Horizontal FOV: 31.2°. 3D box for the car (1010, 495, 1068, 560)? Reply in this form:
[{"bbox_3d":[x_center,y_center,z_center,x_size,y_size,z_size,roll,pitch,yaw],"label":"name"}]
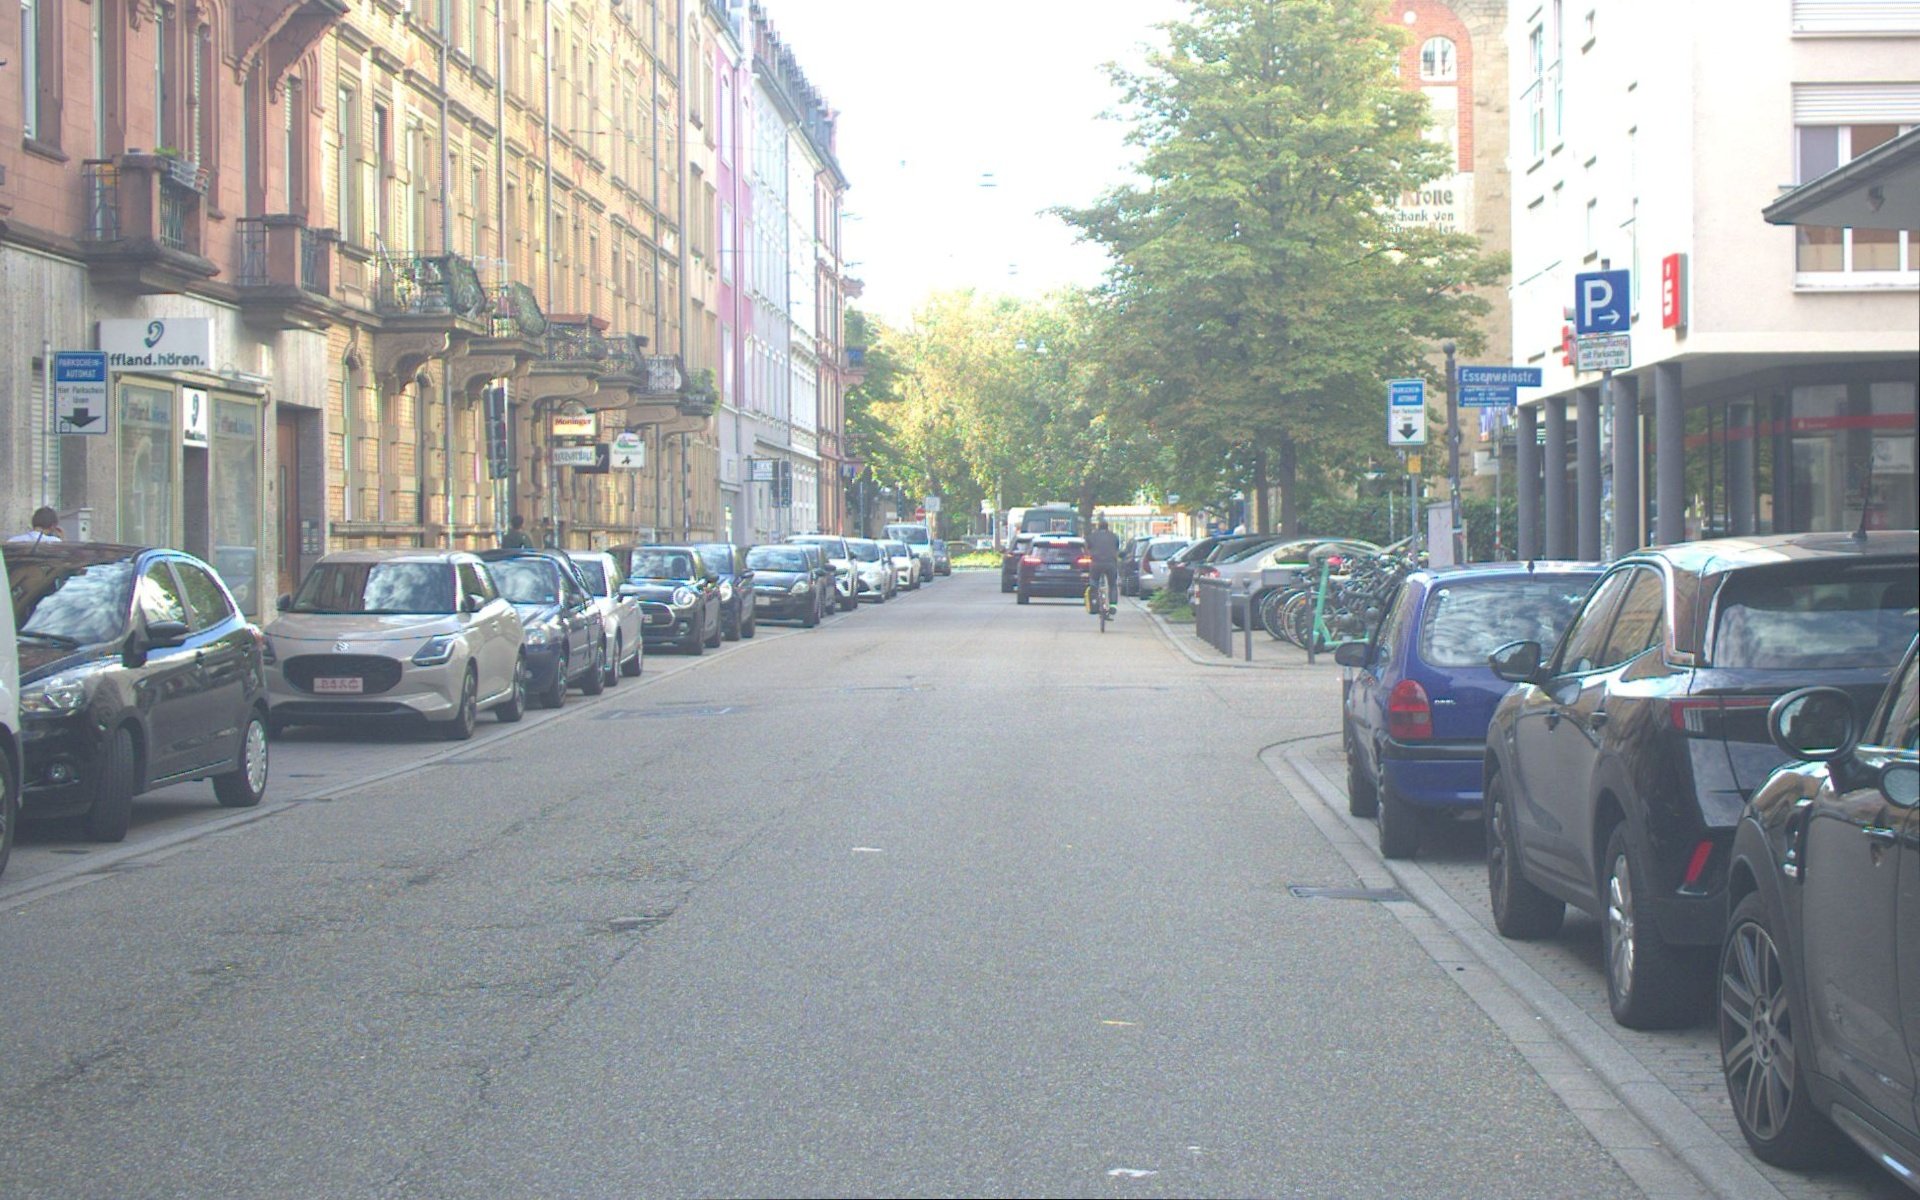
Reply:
[{"bbox_3d":[2.523,-2.343,110.406,1.782,2.013,3.888,1,1,1],"label":"car"}]

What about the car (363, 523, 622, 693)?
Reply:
[{"bbox_3d":[-4.413,0.027,32.977,1.742,1.478,3.983,1,1,3],"label":"car"}]

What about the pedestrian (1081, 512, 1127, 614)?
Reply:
[{"bbox_3d":[2.369,-0.613,56.422,0.718,1.644,0.930,1,1,3],"label":"pedestrian"}]

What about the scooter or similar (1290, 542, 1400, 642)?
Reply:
[{"bbox_3d":[4.572,-0.089,40.830,1.208,1.143,0.378,-1,3,34],"label":"scooter or similar"}]

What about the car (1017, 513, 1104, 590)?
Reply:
[{"bbox_3d":[2.397,-1.132,81.304,1.965,1.735,4.041,1,1,2],"label":"car"}]

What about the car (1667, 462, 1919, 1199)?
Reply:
[{"bbox_3d":[2.631,0.532,6.730,1.792,1.600,3.924,0,1,2],"label":"car"}]

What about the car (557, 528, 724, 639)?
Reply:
[{"bbox_3d":[-4.251,-0.250,46.228,1.690,1.382,3.867,1,1,3],"label":"car"}]

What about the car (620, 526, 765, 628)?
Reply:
[{"bbox_3d":[-4.027,-0.377,52.224,1.690,1.432,3.867,1,1,3],"label":"car"}]

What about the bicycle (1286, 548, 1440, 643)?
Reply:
[{"bbox_3d":[4.857,-0.057,41.433,1.765,1.053,0.411,-2,1,-3],"label":"bicycle"}]

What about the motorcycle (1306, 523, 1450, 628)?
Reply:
[{"bbox_3d":[6.470,-0.381,53.273,2.151,1.525,0.686,-2,1,7],"label":"motorcycle"}]

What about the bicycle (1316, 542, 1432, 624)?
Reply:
[{"bbox_3d":[6.203,-0.260,51.600,1.664,1.155,0.557,-2,1,4],"label":"bicycle"}]

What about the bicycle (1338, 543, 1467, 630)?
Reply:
[{"bbox_3d":[6.220,-0.193,48.359,1.732,1.155,0.500,-2,1,4],"label":"bicycle"}]

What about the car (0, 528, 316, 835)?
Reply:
[{"bbox_3d":[-4.885,0.357,18.747,1.742,1.478,3.983,1,1,4],"label":"car"}]

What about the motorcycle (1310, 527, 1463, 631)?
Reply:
[{"bbox_3d":[6.229,-0.310,50.253,2.151,1.430,0.765,-2,1,7],"label":"motorcycle"}]

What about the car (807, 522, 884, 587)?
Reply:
[{"bbox_3d":[-2.866,-1.156,86.934,1.690,1.545,3.867,1,1,1],"label":"car"}]

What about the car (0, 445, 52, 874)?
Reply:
[{"bbox_3d":[-5.148,0.283,13.482,1.920,1.865,4.437,1,1,1],"label":"car"}]

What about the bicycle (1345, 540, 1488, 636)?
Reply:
[{"bbox_3d":[5.821,-0.157,43.862,1.765,1.142,0.411,-3,2,-18],"label":"bicycle"}]

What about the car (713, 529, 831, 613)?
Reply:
[{"bbox_3d":[-3.384,-0.557,62.499,1.690,1.364,3.867,4,1,3],"label":"car"}]

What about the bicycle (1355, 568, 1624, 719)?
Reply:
[{"bbox_3d":[3.957,0.331,25.811,1.962,1.091,0.688,-1,-2,45],"label":"bicycle"}]

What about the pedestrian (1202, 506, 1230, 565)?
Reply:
[{"bbox_3d":[9.752,-2.450,131.193,0.995,2.222,0.898,1,1,3],"label":"pedestrian"}]

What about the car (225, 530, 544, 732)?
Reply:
[{"bbox_3d":[-4.618,0.193,28.117,1.742,1.478,3.983,1,1,3],"label":"car"}]

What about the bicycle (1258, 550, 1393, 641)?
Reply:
[{"bbox_3d":[4.994,-0.062,47.011,1.794,1.155,0.500,-2,1,5],"label":"bicycle"}]

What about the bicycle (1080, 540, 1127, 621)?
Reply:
[{"bbox_3d":[2.356,-0.326,56.307,0.718,1.270,1.884,1,1,3],"label":"bicycle"}]

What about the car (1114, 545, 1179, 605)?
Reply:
[{"bbox_3d":[5.047,-0.684,93.107,1.690,1.545,3.688,1,1,3],"label":"car"}]

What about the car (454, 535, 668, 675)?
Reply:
[{"bbox_3d":[-4.278,0.012,37.372,1.690,1.382,3.867,1,1,3],"label":"car"}]

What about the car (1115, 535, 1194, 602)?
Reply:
[{"bbox_3d":[4.991,-0.834,88.617,1.930,1.632,4.000,1,1,2],"label":"car"}]

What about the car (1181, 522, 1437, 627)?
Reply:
[{"bbox_3d":[5.619,-0.402,55.581,3.759,1.541,1.731,-2,0,-8],"label":"car"}]

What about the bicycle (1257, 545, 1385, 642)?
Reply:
[{"bbox_3d":[4.490,-0.088,42.815,1.495,1.142,0.411,-2,1,-3],"label":"bicycle"}]

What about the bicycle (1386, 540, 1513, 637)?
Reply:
[{"bbox_3d":[6.090,-0.145,42.808,1.495,1.142,0.411,-2,1,2],"label":"bicycle"}]

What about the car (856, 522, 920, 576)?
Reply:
[{"bbox_3d":[-2.120,-1.521,101.994,1.690,1.545,3.867,1,1,1],"label":"car"}]

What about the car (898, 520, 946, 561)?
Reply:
[{"bbox_3d":[-1.476,-2.306,133.467,1.690,1.545,3.867,1,1,1],"label":"car"}]

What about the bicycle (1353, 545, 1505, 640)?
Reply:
[{"bbox_3d":[5.723,-0.098,42.040,1.766,1.083,0.650,-2,1,5],"label":"bicycle"}]

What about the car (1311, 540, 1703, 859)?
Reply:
[{"bbox_3d":[2.733,0.427,17.905,1.595,1.434,4.030,-1,1,3],"label":"car"}]

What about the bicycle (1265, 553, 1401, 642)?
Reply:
[{"bbox_3d":[4.993,-0.039,46.076,1.766,1.115,0.411,-2,1,5],"label":"bicycle"}]

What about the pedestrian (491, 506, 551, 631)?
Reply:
[{"bbox_3d":[-6.590,-0.478,51.644,0.689,1.847,0.931,1,1,3],"label":"pedestrian"}]

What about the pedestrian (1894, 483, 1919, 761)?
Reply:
[{"bbox_3d":[5.902,0.119,19.880,0.824,1.583,0.780,0,1,4],"label":"pedestrian"}]

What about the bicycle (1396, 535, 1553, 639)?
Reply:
[{"bbox_3d":[6.122,-0.158,40.974,1.766,1.158,0.650,-2,1,5],"label":"bicycle"}]

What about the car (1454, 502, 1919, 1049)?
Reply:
[{"bbox_3d":[2.823,0.472,11.875,1.688,1.572,3.902,-1,1,1],"label":"car"}]

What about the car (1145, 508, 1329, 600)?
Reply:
[{"bbox_3d":[6.211,-1.037,76.770,3.988,1.678,1.737,-2,9,6],"label":"car"}]

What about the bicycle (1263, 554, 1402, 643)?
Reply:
[{"bbox_3d":[4.907,-0.022,45.335,1.766,1.095,0.411,-2,1,5],"label":"bicycle"}]

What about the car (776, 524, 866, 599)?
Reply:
[{"bbox_3d":[-3.007,-0.856,74.857,1.690,1.545,3.867,1,1,1],"label":"car"}]

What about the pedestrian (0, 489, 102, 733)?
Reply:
[{"bbox_3d":[-7.002,0.071,26.103,0.730,1.784,0.772,3,1,-5],"label":"pedestrian"}]

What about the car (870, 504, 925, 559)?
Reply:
[{"bbox_3d":[-2.141,-2.335,118.068,1.690,1.815,3.867,1,1,1],"label":"car"}]

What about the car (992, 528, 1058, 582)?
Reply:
[{"bbox_3d":[1.835,-1.287,97.505,1.797,1.467,3.888,1,1,1],"label":"car"}]

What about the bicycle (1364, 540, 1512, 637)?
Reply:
[{"bbox_3d":[6.027,-0.154,43.350,1.765,1.142,0.411,-2,1,-3],"label":"bicycle"}]
